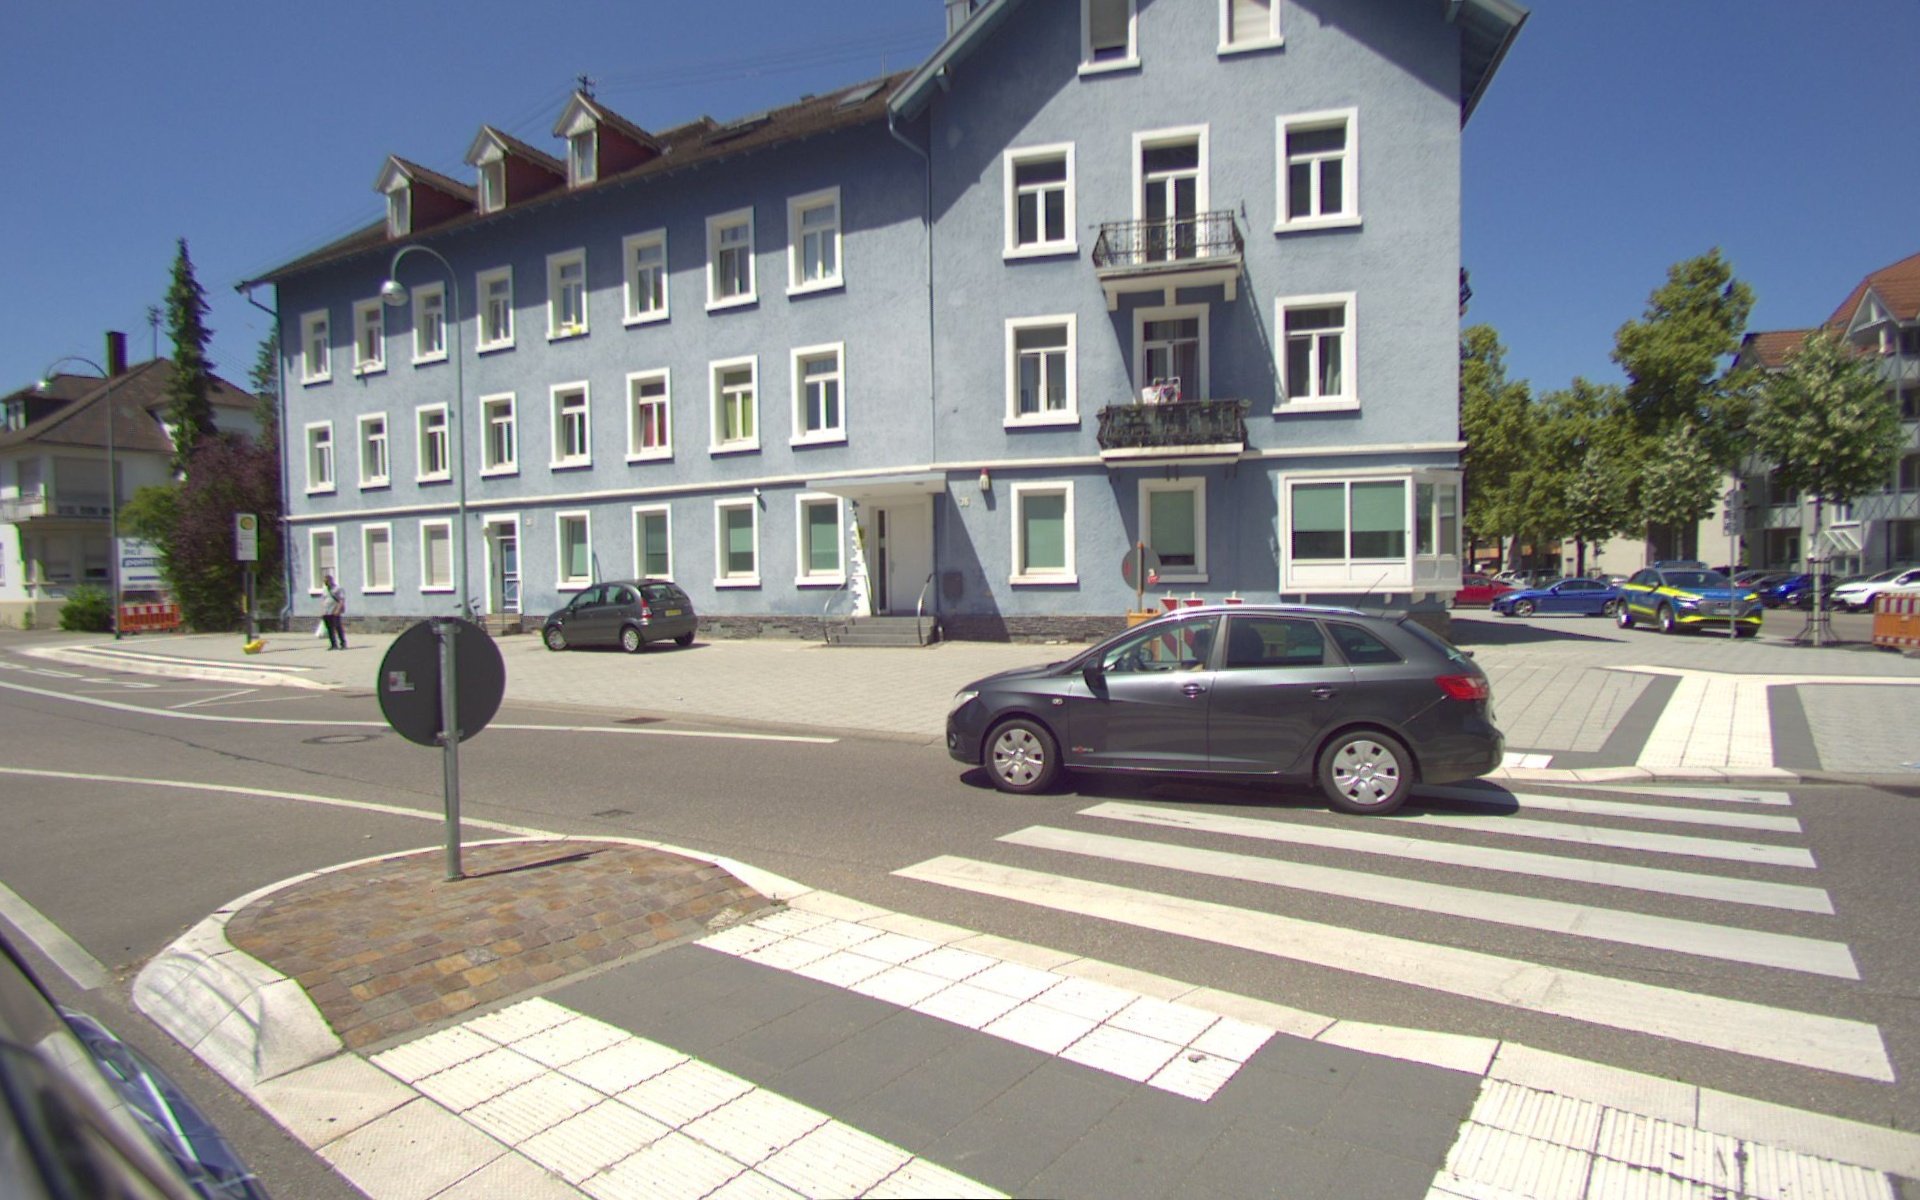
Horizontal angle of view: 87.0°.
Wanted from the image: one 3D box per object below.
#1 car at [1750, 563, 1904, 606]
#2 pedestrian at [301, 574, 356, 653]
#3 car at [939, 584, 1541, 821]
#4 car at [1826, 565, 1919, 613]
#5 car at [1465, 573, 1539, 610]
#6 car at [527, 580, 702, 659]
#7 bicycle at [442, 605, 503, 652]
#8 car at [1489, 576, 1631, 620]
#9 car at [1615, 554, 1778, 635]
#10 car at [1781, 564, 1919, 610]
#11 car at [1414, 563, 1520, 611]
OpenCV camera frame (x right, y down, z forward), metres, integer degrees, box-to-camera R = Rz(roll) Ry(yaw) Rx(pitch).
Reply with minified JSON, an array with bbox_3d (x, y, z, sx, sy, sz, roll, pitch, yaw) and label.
[{"bbox_3d":[35.491,-0.615,41.561,4.332,1.683,1.973,-1,0,15],"label":"car"},{"bbox_3d":[-15.577,0.323,24.980,0.768,1.861,0.751,-1,4,28],"label":"pedestrian"},{"bbox_3d":[1.998,0.684,7.756,3.994,1.463,1.653,-1,-1,21],"label":"car"},{"bbox_3d":[34.447,-0.390,36.543,4.332,1.683,1.973,-1,0,15],"label":"car"},{"bbox_3d":[25.930,-0.398,48.594,2.263,1.705,4.106,0,0,15],"label":"car"},{"bbox_3d":[-7.597,0.363,22.182,3.761,1.546,1.567,1,2,30],"label":"car"},{"bbox_3d":[-11.552,0.650,23.952,1.972,0.984,0.491,1,6,41],"label":"bicycle"},{"bbox_3d":[21.082,-0.076,35.734,3.995,1.369,1.653,-1,4,16],"label":"car"},{"bbox_3d":[17.837,-0.153,24.754,1.765,1.791,4.224,-1,1,15],"label":"car"},{"bbox_3d":[34.815,-0.493,39.077,4.332,1.683,1.973,-1,0,15],"label":"car"},{"bbox_3d":[22.775,-0.611,45.612,3.964,2.028,1.990,-1,2,16],"label":"car"}]
